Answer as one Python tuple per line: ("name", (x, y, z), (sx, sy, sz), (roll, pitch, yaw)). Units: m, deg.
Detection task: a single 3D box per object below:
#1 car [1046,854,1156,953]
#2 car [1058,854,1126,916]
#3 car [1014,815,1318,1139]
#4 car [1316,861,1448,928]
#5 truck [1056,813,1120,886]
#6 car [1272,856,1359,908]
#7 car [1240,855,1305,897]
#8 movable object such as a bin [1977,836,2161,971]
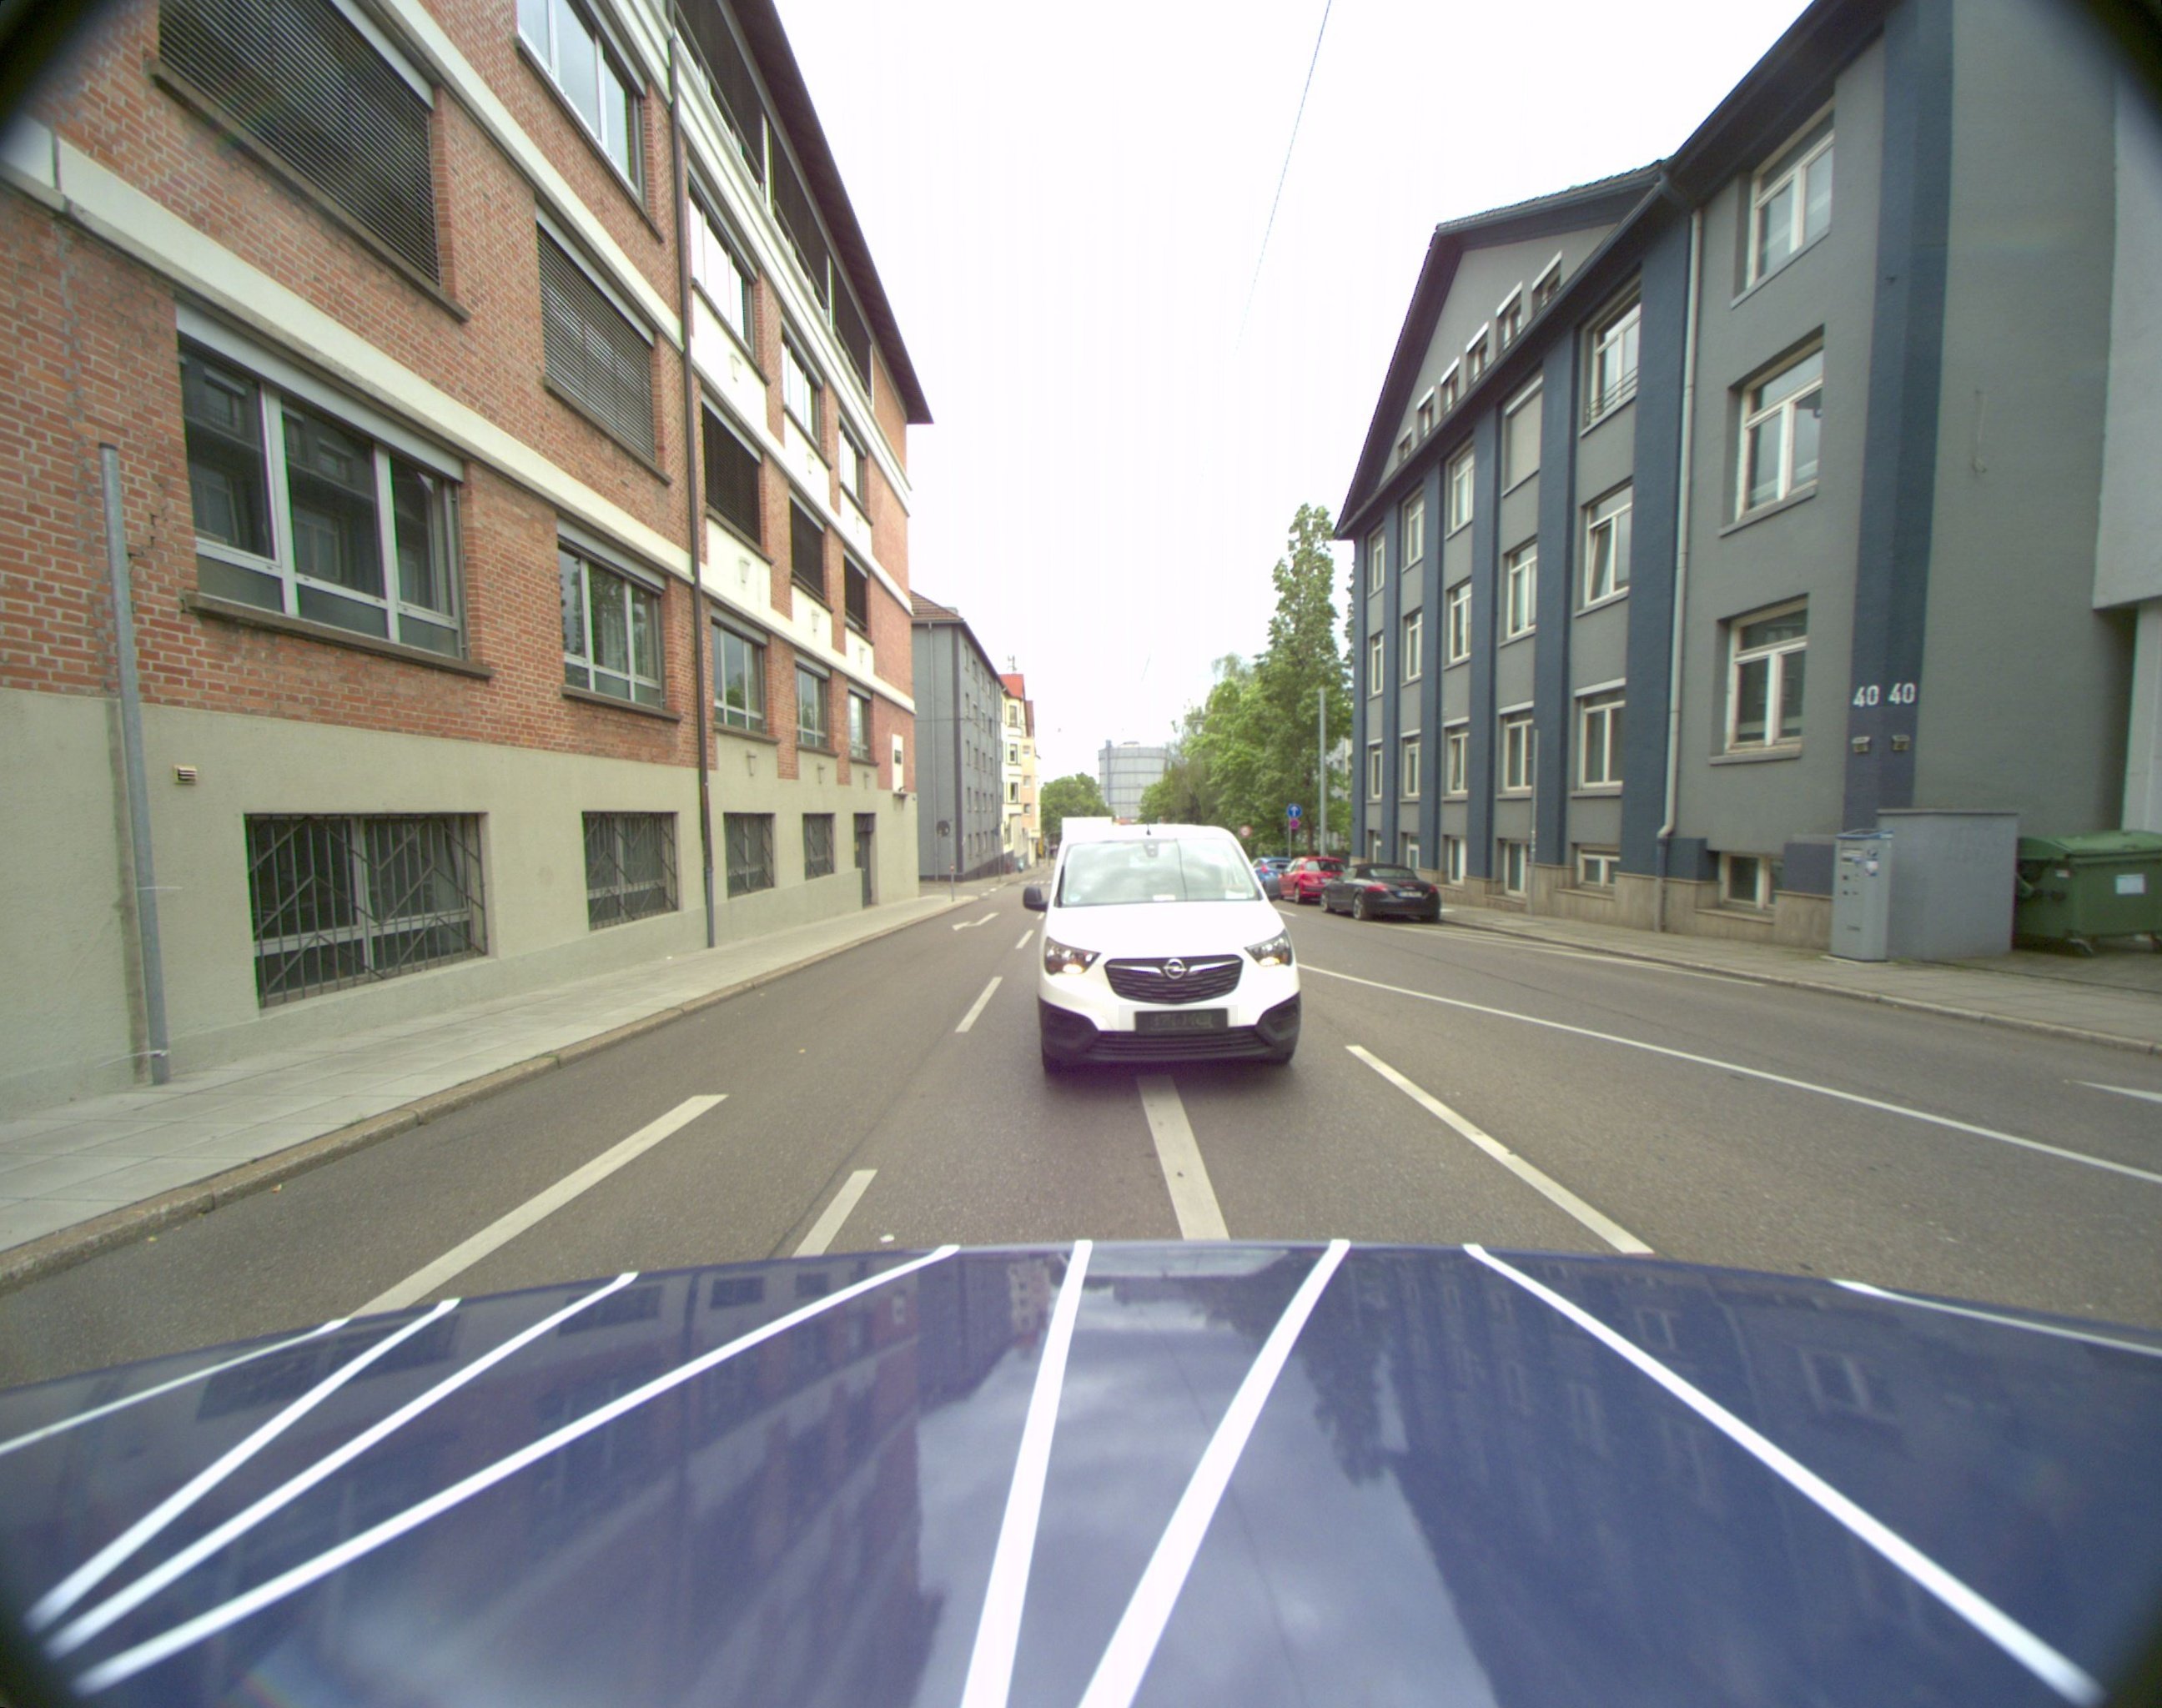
("car", (0.351, 0.810, 14.395), (1.739, 1.519, 3.999), (-2, 1, 1))
("car", (0.313, 0.820, 21.887), (1.739, 1.519, 3.999), (-2, 1, 1))
("car", (0.532, 0.714, 6.515), (1.739, 1.875, 3.999), (-2, 1, 1))
("car", (7.204, 0.913, 18.586), (1.801, 1.384, 3.729), (0, 1, 1))
("truck", (0.415, -0.275, 41.424), (2.969, 3.409, 8.879), (-2, 1, 1))
("car", (7.407, 0.827, 24.346), (1.644, 1.441, 3.729), (-2, 1, 1))
("car", (7.450, 0.800, 29.896), (1.644, 1.441, 3.729), (-2, 1, 1))
("movable object such as a bin", (12.083, 0.562, 9.197), (1.229, 1.498, 1.040), (-2, 1, 1))
